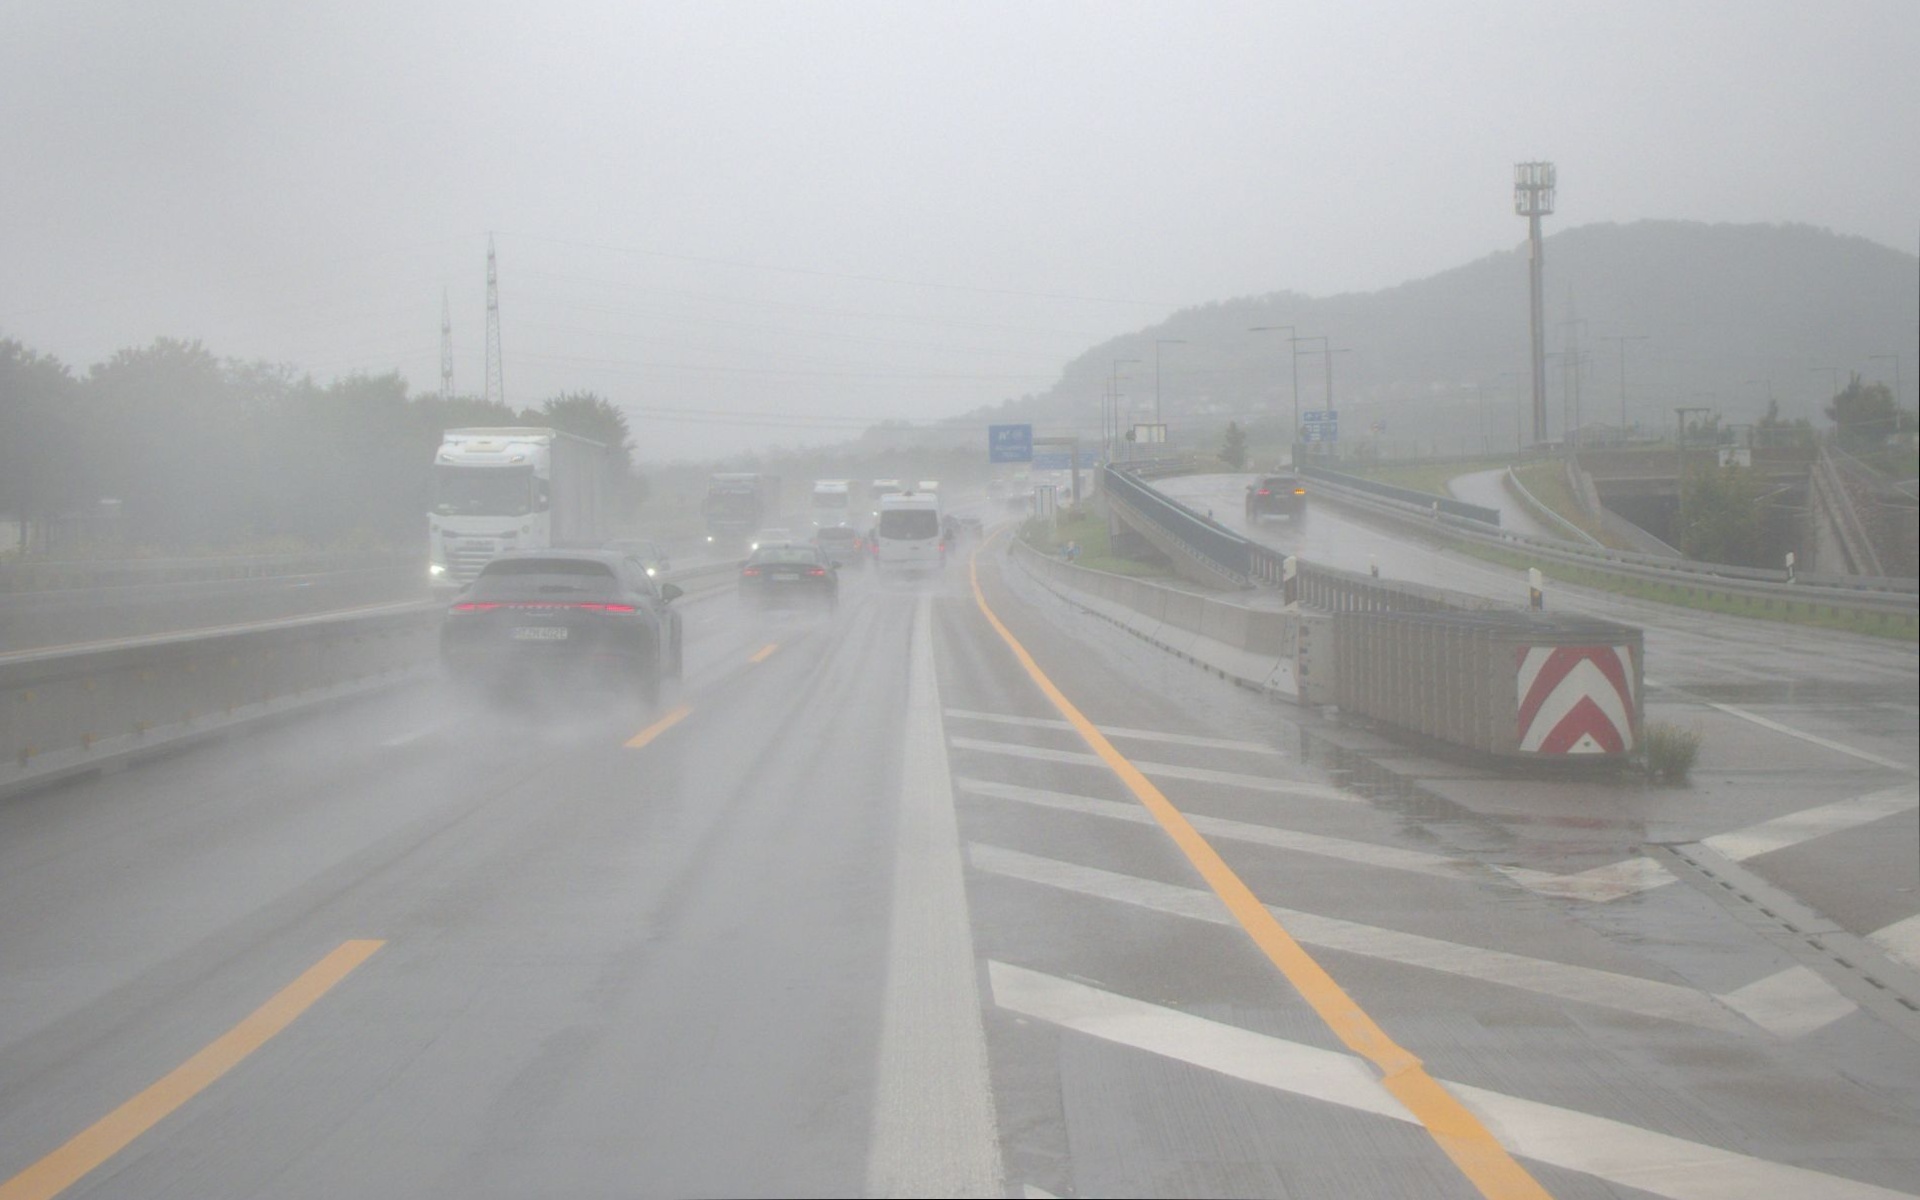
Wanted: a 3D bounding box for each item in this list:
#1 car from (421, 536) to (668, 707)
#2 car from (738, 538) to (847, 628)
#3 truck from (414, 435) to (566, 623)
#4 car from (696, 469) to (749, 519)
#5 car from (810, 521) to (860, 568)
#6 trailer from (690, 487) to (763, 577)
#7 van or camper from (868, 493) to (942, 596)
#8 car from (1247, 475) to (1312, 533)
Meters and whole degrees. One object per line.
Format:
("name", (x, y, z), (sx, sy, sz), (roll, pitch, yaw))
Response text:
("car", (-3.807, 0.165, 32.138), (1.844, 1.486, 4.262), (0, 1, -1))
("car", (-3.124, -0.349, 64.701), (1.844, 1.486, 4.262), (-2, 2, -1))
("truck", (-11.072, -1.651, 81.521), (2.708, 4.263, 6.750), (0, 1, 0))
("car", (-13.814, -6.169, 199.979), (2.710, 2.803, 5.095), (0, 1, 0))
("car", (-4.238, -1.871, 116.749), (1.566, 1.475, 2.822), (-2, 0, -1))
("trailer", (-10.957, -3.149, 162.389), (2.650, 4.095, 12.315), (0, 1, 0))
("van or camper", (-1.516, -1.514, 94.882), (1.996, 2.768, 4.050), (0, 1, -1))
("car", (12.065, -3.612, 130.060), (1.993, 2.135, 4.000), (0, 1, -1))
